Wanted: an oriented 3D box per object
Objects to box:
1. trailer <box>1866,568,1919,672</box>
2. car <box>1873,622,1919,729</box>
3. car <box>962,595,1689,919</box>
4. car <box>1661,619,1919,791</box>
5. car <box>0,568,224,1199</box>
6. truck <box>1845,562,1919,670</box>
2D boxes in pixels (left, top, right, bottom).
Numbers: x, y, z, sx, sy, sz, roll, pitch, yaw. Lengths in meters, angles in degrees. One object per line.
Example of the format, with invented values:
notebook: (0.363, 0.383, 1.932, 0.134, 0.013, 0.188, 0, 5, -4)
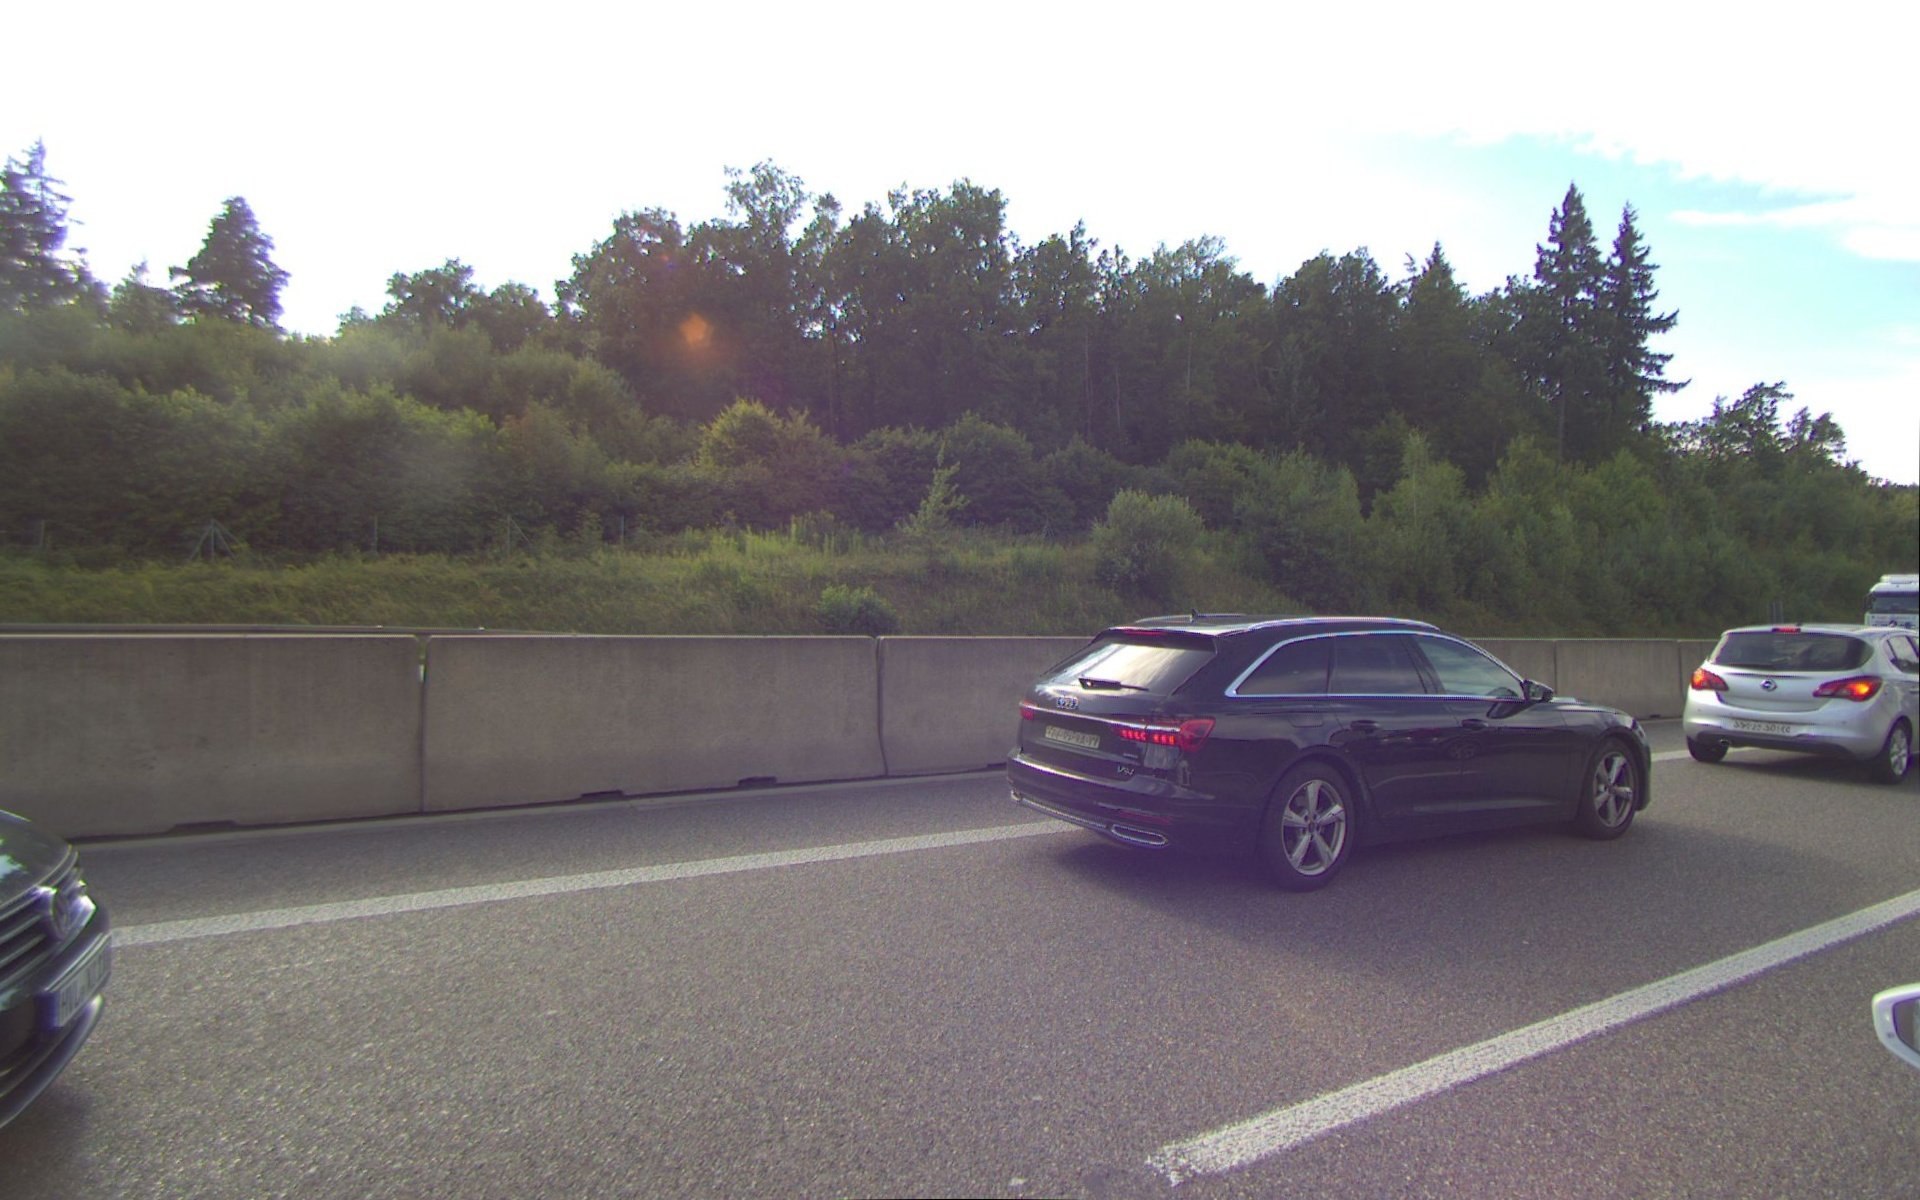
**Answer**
trailer: (55.157, 1.216, 55.922, 13.676, 5.351, 3.027, 2, 0, -31)
car: (15.657, 1.112, 14.876, 4.692, 1.475, 1.834, 1, 0, -30)
car: (2.557, 0.775, 6.670, 4.793, 1.491, 1.874, 1, 0, -30)
car: (9.356, 0.970, 10.586, 3.994, 1.485, 1.738, 1, -1, -31)
car: (-4.250, 0.640, 1.747, 4.511, 1.497, 1.903, 1, 0, -28)
truck: (49.709, 0.875, 52.615, 6.804, 5.322, 3.024, 2, 0, -31)
